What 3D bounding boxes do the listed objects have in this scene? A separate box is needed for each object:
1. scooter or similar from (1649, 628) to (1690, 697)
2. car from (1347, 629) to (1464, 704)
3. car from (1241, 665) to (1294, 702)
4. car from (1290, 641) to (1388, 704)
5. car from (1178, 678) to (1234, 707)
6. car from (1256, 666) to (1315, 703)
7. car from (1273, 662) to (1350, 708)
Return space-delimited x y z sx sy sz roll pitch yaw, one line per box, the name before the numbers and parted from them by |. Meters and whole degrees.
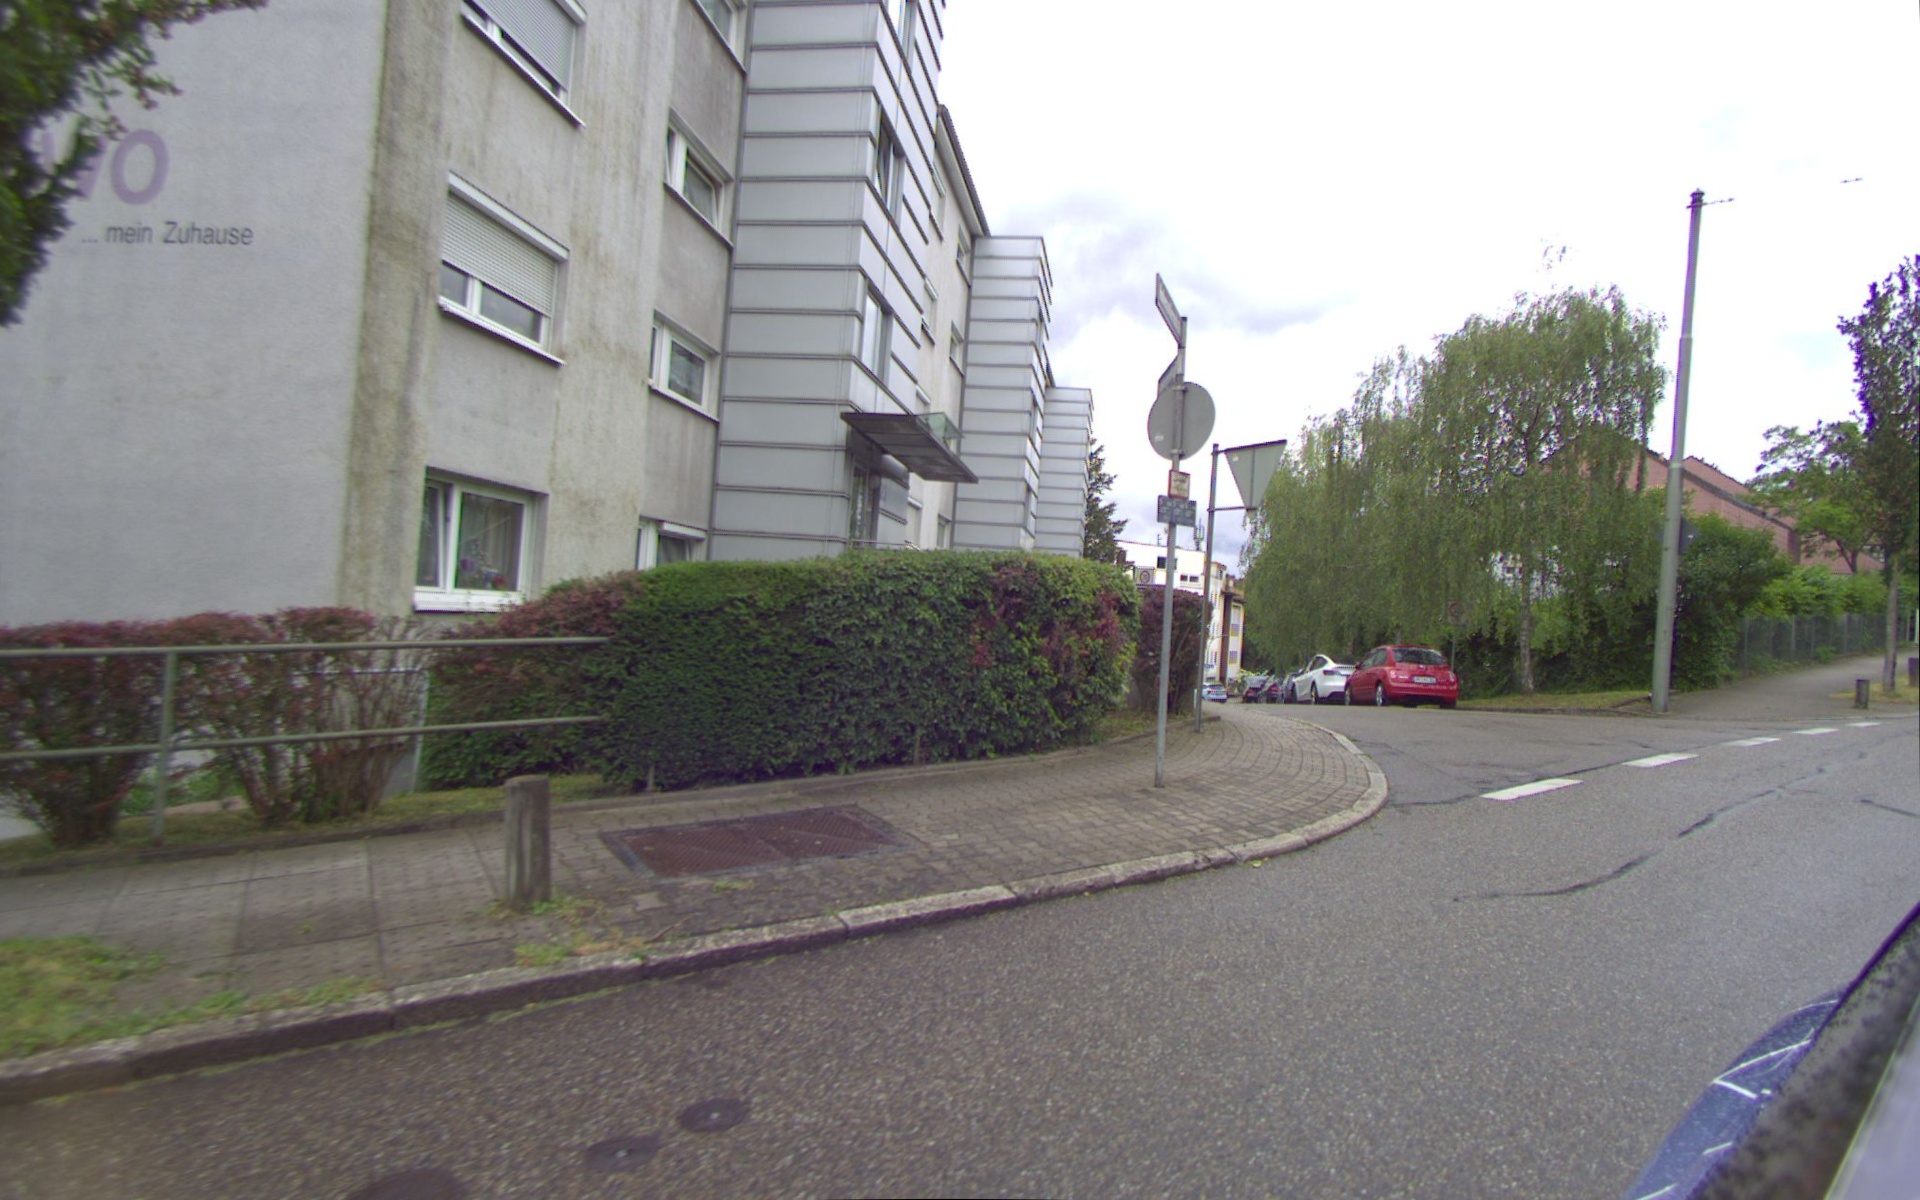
scooter or similar | 13.917 1.207 19.833 1.245 1.270 0.343 0 -1 -41
car | 10.403 1.630 23.867 1.618 1.543 3.558 2 -6 8
car | 14.368 3.933 47.498 1.969 1.617 3.983 0 -5 12
car | 10.862 2.160 29.304 1.698 1.563 4.358 0 -7 8
car | 18.203 6.849 75.065 1.804 1.841 4.004 1 -2 -28
car | 13.039 3.376 40.724 1.569 1.397 3.887 0 -4 8
car | 12.113 2.989 35.106 1.698 1.441 4.287 0 -6 8
